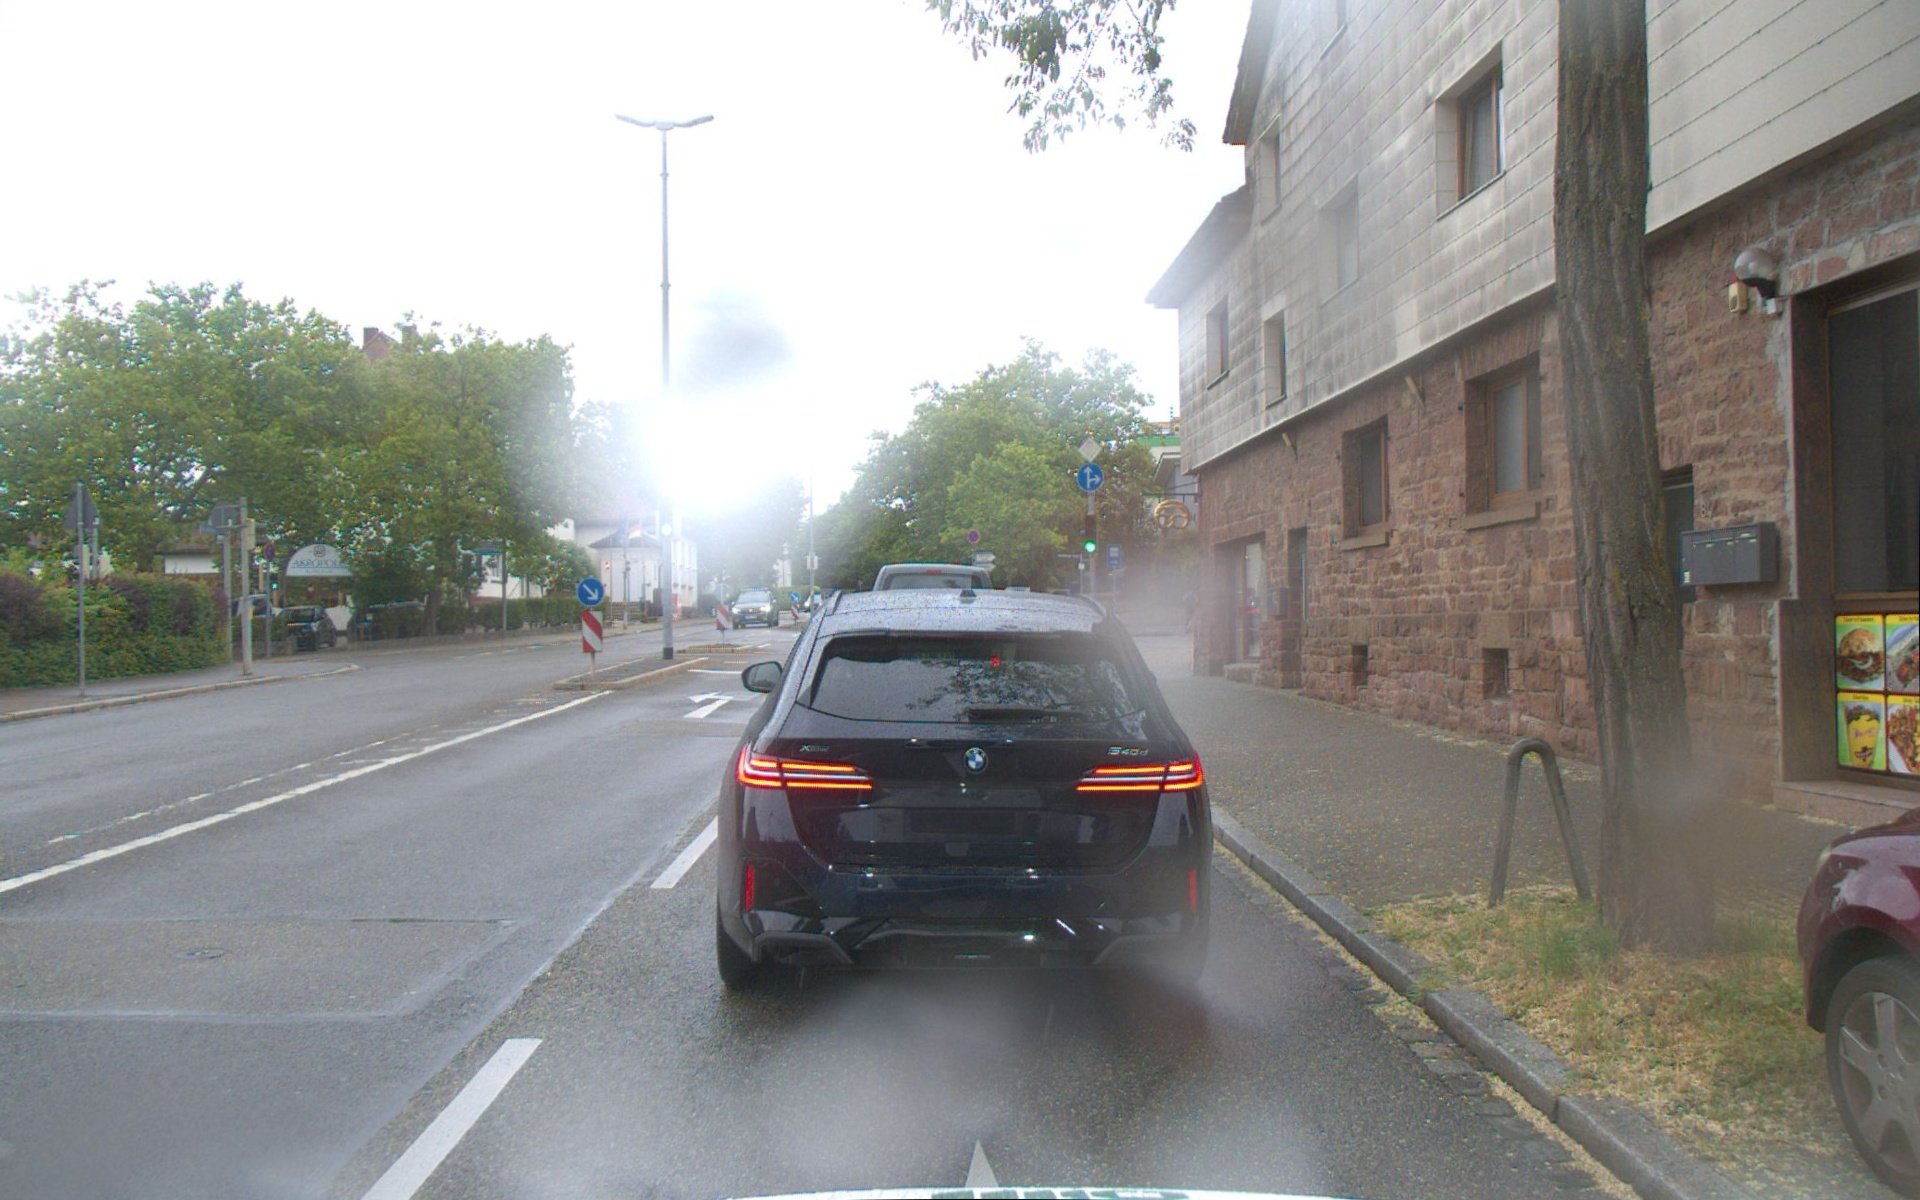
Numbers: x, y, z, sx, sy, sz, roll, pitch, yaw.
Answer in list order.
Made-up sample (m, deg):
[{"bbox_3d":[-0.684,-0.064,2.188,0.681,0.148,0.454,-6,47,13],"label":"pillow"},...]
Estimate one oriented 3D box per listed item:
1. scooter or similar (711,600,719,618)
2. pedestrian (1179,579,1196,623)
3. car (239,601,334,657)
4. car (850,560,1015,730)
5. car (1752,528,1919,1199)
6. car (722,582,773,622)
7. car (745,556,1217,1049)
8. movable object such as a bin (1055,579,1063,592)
[{"bbox_3d":[-15.520,0.571,104.715,0.382,1.083,1.409,1,0,-5],"label":"scooter or similar"},{"bbox_3d":[8.484,0.044,61.628,0.588,1.645,0.526,1,-1,6],"label":"pedestrian"},{"bbox_3d":[-23.129,0.977,56.966,1.772,1.578,4.000,1,4,-3],"label":"car"},{"bbox_3d":[-0.414,0.502,19.967,1.776,1.840,3.753,1,0,-4],"label":"car"},{"bbox_3d":[3.057,0.577,2.671,1.578,1.530,3.753,1,-2,-4],"label":"car"},{"bbox_3d":[-9.169,0.049,71.675,1.861,1.604,4.499,-1,1,-4],"label":"car"},{"bbox_3d":[-0.035,0.662,7.063,1.494,1.561,3.529,1,0,-4],"label":"car"},{"bbox_3d":[6.907,-1.010,115.404,0.440,0.921,0.463,1,-1,14],"label":"movable object such as a bin"}]
